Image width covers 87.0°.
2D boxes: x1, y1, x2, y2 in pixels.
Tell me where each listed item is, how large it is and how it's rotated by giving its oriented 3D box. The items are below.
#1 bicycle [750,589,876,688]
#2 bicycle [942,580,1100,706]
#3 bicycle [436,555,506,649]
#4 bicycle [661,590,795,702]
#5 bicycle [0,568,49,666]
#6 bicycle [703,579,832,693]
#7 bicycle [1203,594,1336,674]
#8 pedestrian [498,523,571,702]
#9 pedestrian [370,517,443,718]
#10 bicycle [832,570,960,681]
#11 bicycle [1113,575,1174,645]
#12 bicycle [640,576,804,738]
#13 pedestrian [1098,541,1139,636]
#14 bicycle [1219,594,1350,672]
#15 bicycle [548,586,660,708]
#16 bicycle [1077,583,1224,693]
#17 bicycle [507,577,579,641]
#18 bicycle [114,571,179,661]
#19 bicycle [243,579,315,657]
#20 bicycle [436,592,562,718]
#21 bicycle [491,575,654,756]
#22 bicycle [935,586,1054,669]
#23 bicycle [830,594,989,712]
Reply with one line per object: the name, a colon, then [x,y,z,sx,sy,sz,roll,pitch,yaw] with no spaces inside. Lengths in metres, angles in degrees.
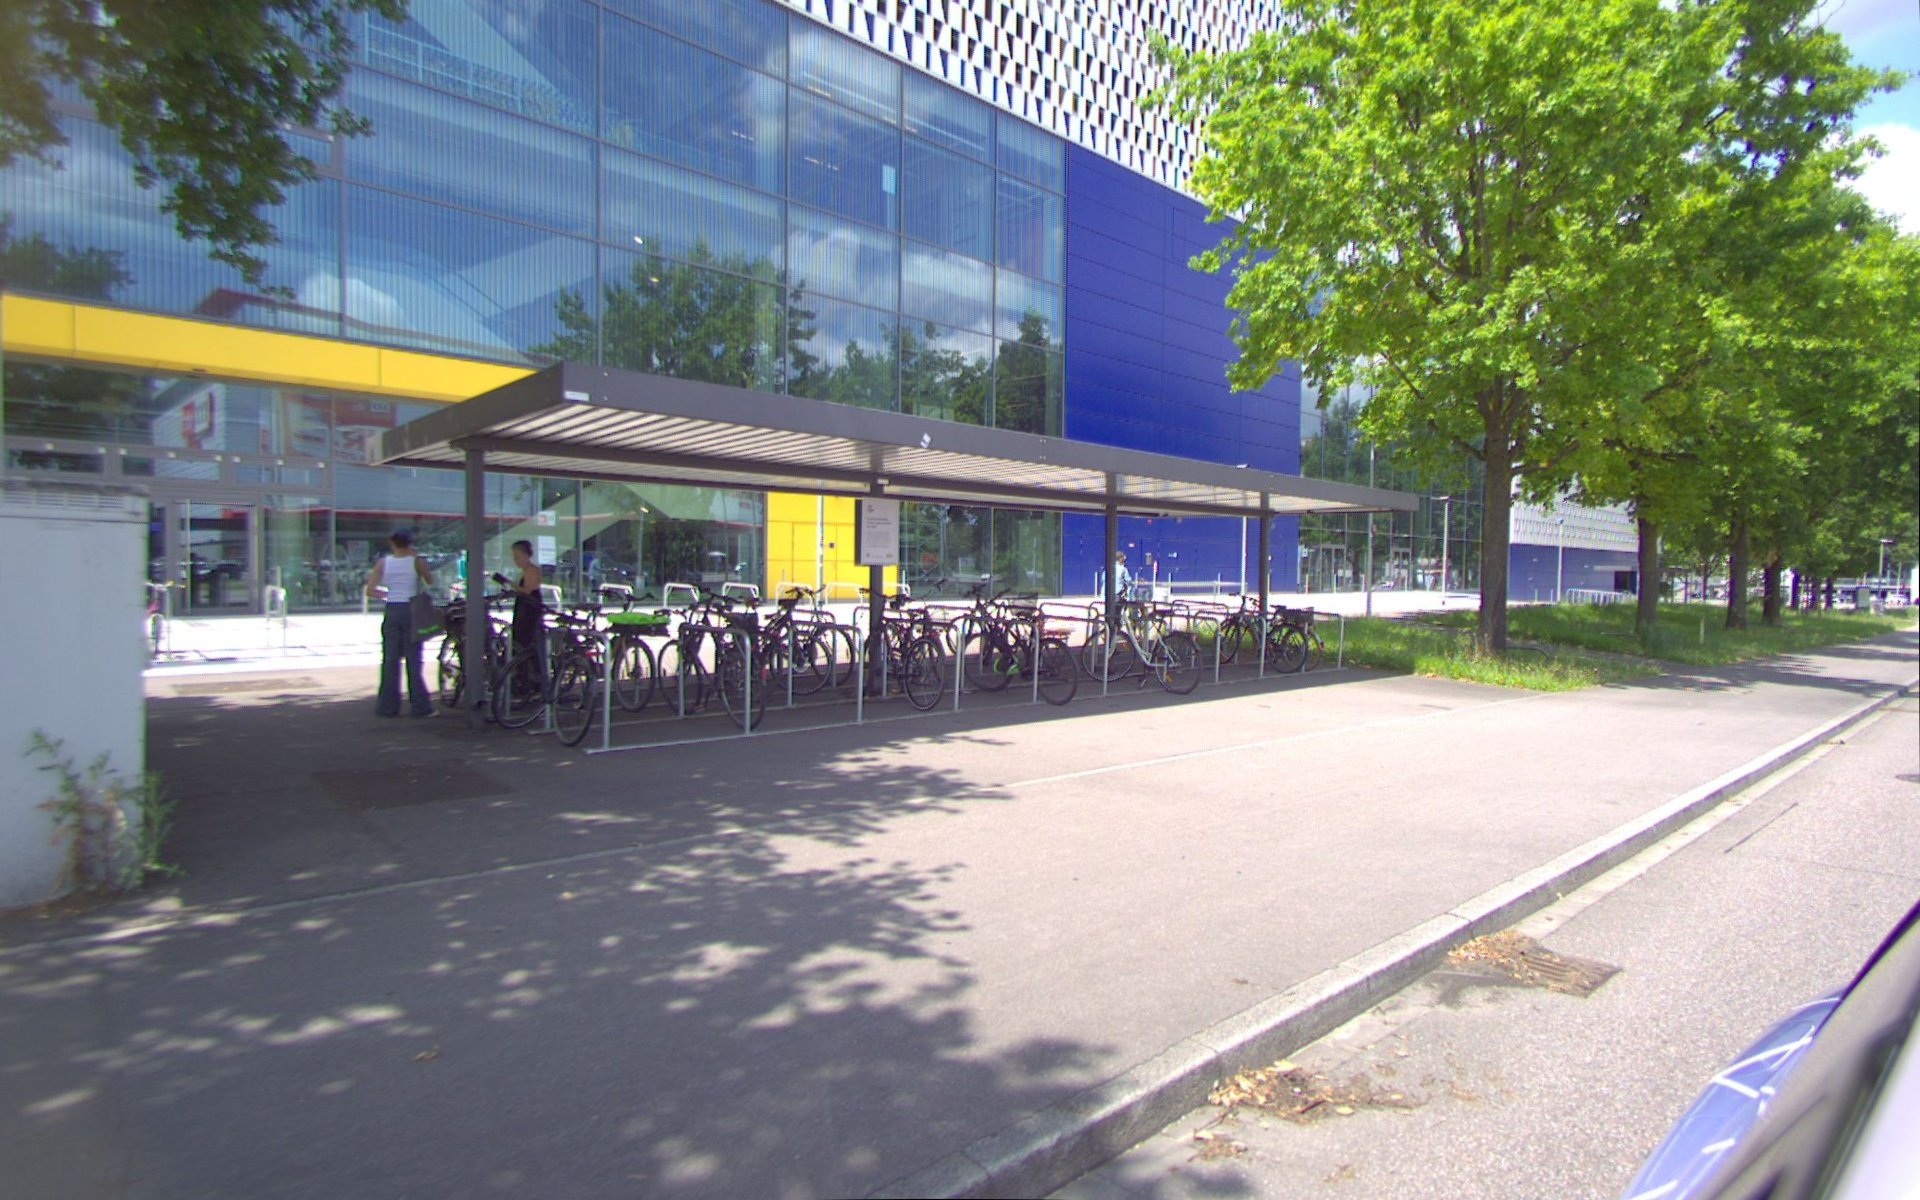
bicycle: [-1.752,0.412,11.820,1.862,1.006,0.417,3,4,44]
bicycle: [0.627,0.421,11.000,1.863,1.202,0.417,4,3,44]
bicycle: [-7.231,-0.004,14.921,0.707,1.244,2.150,1,3,-31]
bicycle: [-2.486,0.444,10.704,1.863,1.007,0.417,4,3,44]
bicycle: [-11.083,0.162,11.900,1.863,1.006,0.417,5,5,44]
bicycle: [-2.187,0.362,11.347,1.862,1.129,0.417,4,3,44]
bicycle: [4.546,0.471,14.976,1.863,1.006,0.417,5,4,44]
pedestrian: [-4.150,0.112,9.860,0.470,1.683,0.545,1,1,-43]
pedestrian: [-4.828,0.135,8.817,0.535,1.683,0.546,0,1,-31]
bicycle: [-0.830,0.276,12.596,1.863,1.246,0.417,4,3,44]
bicycle: [3.330,0.149,18.523,0.566,1.121,2.017,2,3,-4]
bicycle: [-2.089,0.433,8.709,1.863,1.202,0.417,4,3,44]
pedestrian: [2.954,-0.226,18.898,0.622,1.742,0.525,1,2,-4]
bicycle: [4.881,0.471,15.324,1.863,1.006,0.417,5,4,44]
bicycle: [-3.578,0.421,10.081,0.416,1.047,1.866,1,2,-40]
bicycle: [2.292,0.424,12.420,0.416,1.184,1.900,0,3,-40]
bicycle: [-6.581,0.120,15.917,0.462,0.892,1.866,1,2,-41]
bicycle: [-10.171,0.166,12.635,1.862,1.007,0.417,3,3,44]
bicycle: [-9.049,0.213,13.413,1.863,0.893,0.417,4,3,44]
bicycle: [-4.344,0.465,9.459,1.862,1.007,0.417,3,2,44]
bicycle: [-3.042,0.440,7.832,1.862,1.202,0.417,3,2,44]
bicycle: [0.452,0.352,14.269,1.863,1.006,0.417,5,4,44]
bicycle: [-0.547,0.491,10.177,1.863,1.007,0.417,4,3,44]
